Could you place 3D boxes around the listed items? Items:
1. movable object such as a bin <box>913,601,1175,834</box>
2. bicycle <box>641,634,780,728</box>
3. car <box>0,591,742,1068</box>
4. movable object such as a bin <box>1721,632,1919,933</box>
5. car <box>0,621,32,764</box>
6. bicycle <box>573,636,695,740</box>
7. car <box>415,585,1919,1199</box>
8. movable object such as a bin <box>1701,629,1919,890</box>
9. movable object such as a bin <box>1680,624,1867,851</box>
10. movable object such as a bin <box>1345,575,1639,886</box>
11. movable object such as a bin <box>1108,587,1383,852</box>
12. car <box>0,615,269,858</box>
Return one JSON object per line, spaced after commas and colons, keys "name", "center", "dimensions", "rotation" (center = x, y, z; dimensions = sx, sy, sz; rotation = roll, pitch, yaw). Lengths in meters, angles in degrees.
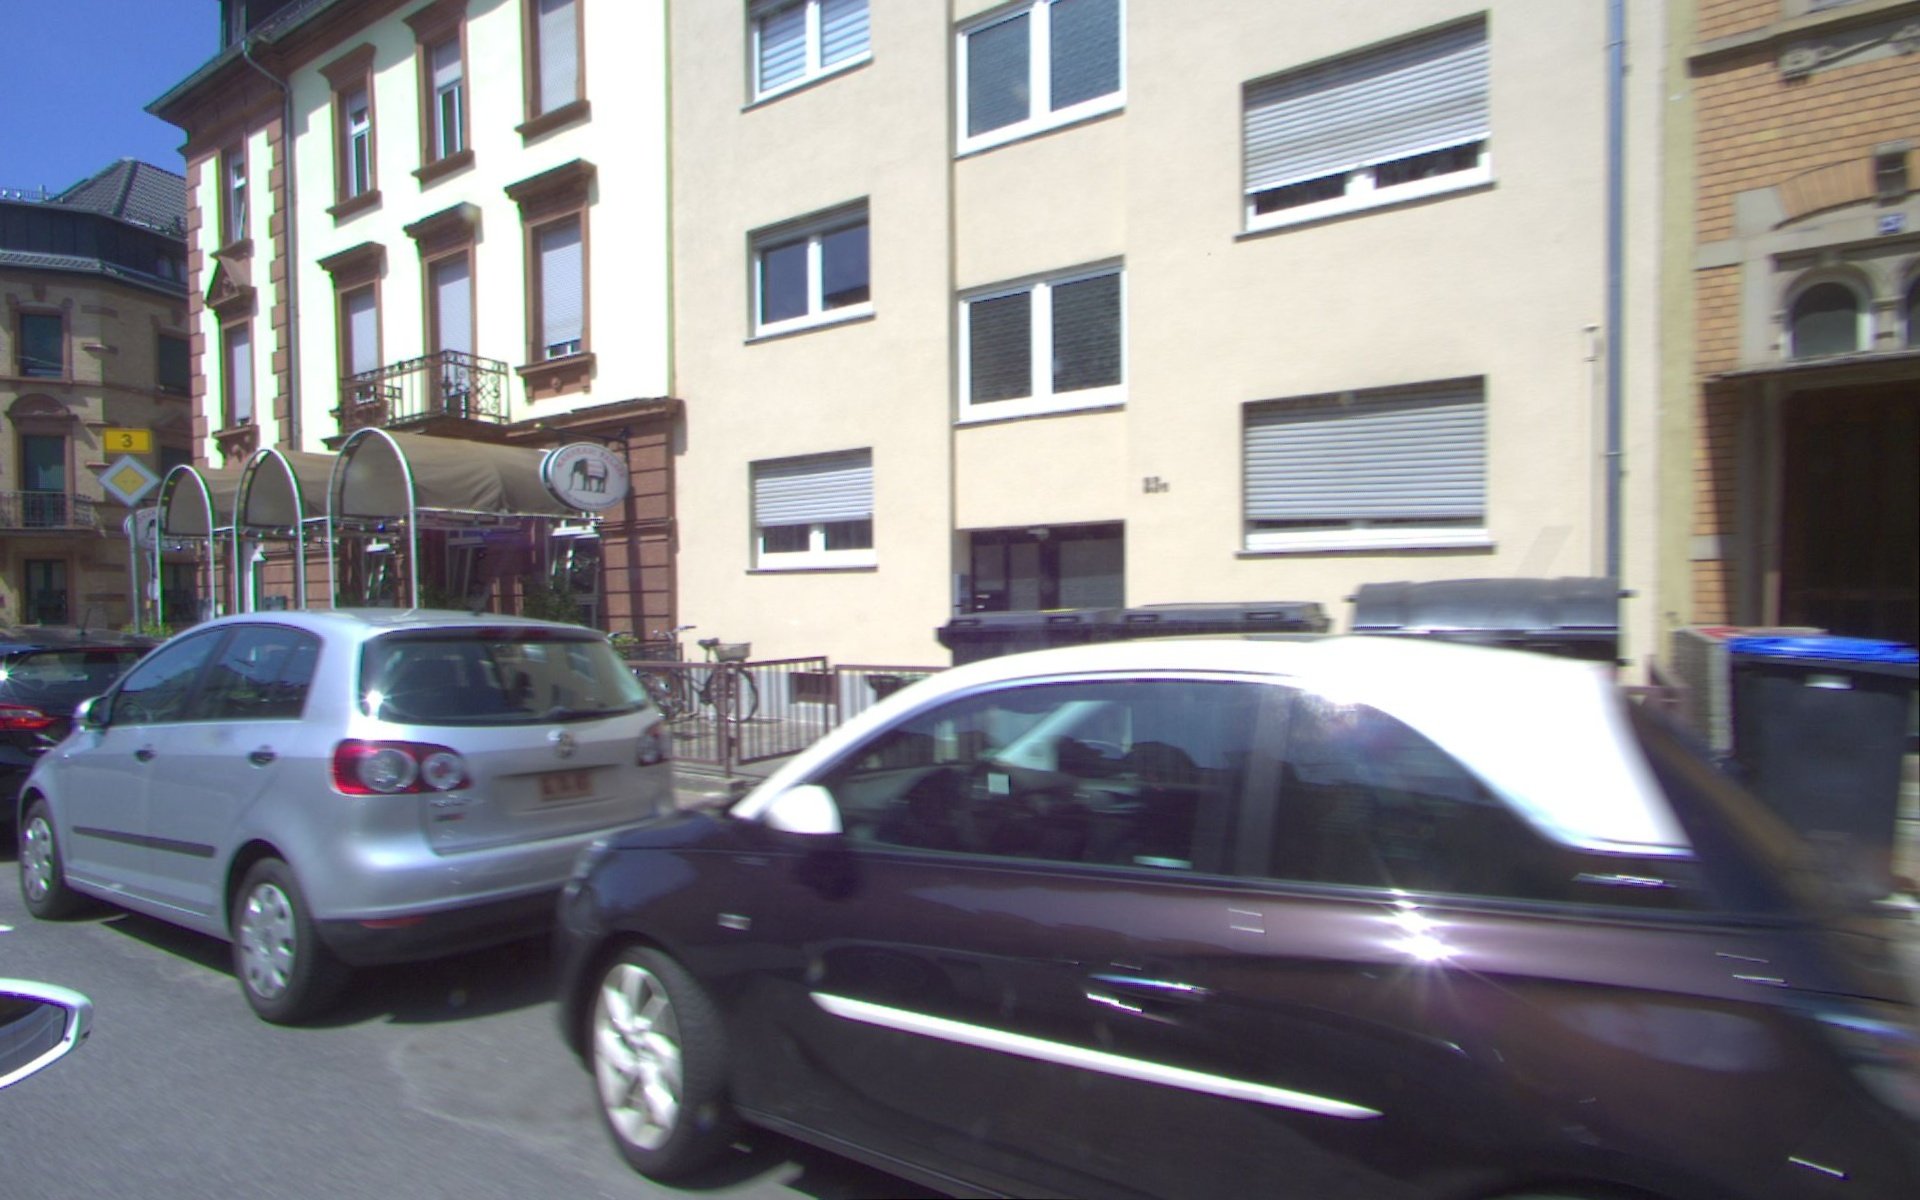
{"name": "movable object such as a bin", "center": [0.608, 0.717, 6.981], "dimensions": [1.393, 1.414, 1.279], "rotation": [0, 0, 33]}
{"name": "bicycle", "center": [-2.898, 0.911, 11.600], "dimensions": [1.604, 0.996, 0.550], "rotation": [0, 0, 28]}
{"name": "car", "center": [-3.202, 0.814, 5.160], "dimensions": [4.009, 1.571, 1.754], "rotation": [-1, -3, 33]}
{"name": "movable object such as a bin", "center": [3.913, 0.755, 4.475], "dimensions": [0.736, 1.203, 0.720], "rotation": [0, 0, 31]}
{"name": "car", "center": [-11.939, 0.946, 10.798], "dimensions": [3.726, 1.497, 1.757], "rotation": [0, -2, 29]}
{"name": "bicycle", "center": [-3.503, 0.904, 10.688], "dimensions": [1.612, 0.996, 0.548], "rotation": [0, 0, 44]}
{"name": "car", "center": [0.325, 0.785, 2.944], "dimensions": [3.876, 1.497, 1.754], "rotation": [-1, -3, 33]}
{"name": "movable object such as a bin", "center": [4.299, 0.753, 5.125], "dimensions": [0.736, 1.183, 0.720], "rotation": [0, 0, 31]}
{"name": "movable object such as a bin", "center": [4.651, 0.739, 5.782], "dimensions": [0.736, 1.183, 0.720], "rotation": [0, 0, 31]}
{"name": "movable object such as a bin", "center": [2.916, 0.606, 5.484], "dimensions": [1.286, 1.429, 1.279], "rotation": [0, 0, 33]}
{"name": "movable object such as a bin", "center": [1.802, 0.643, 6.234], "dimensions": [1.345, 1.414, 1.279], "rotation": [0, 0, 33]}
{"name": "car", "center": [-7.234, 0.891, 7.759], "dimensions": [3.876, 1.497, 1.754], "rotation": [-1, -3, 33]}
